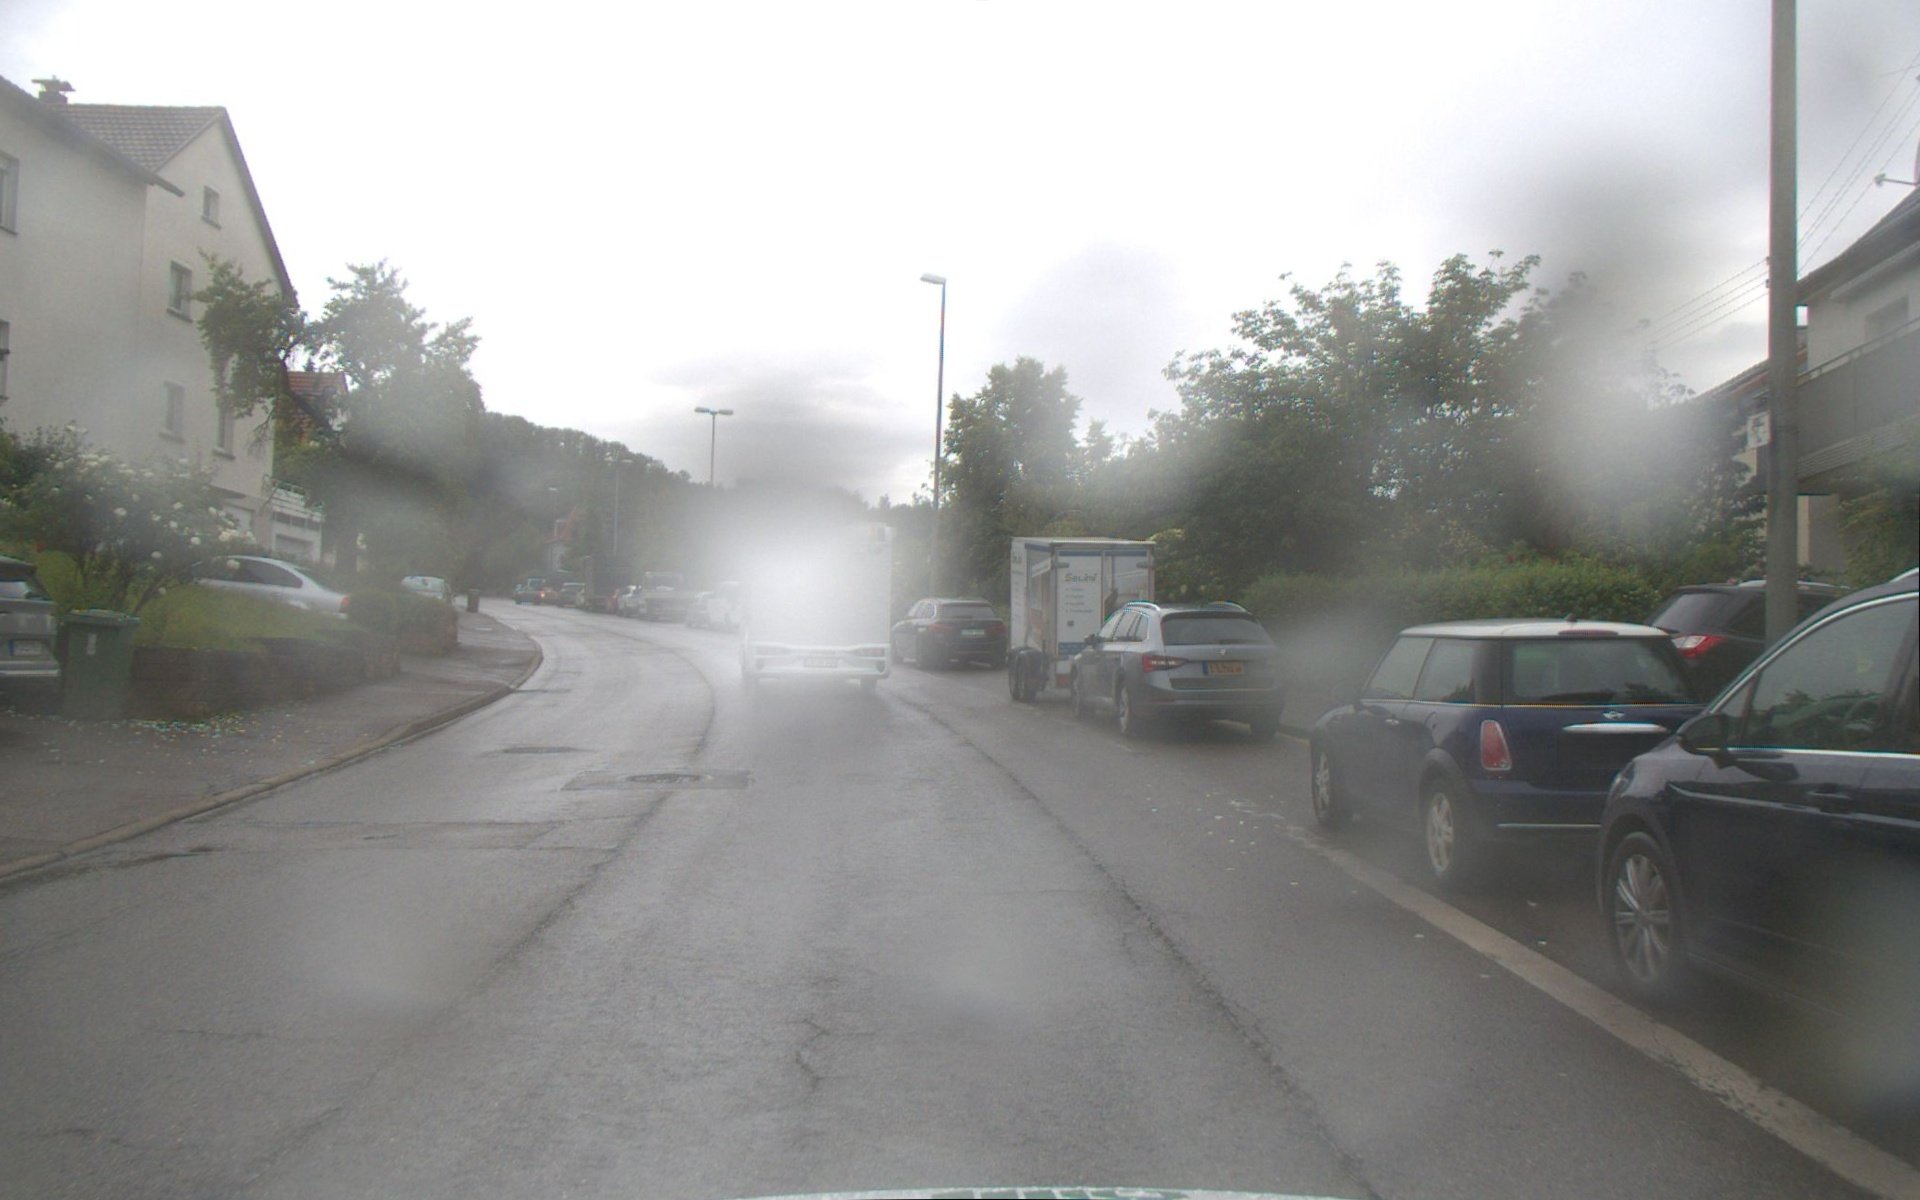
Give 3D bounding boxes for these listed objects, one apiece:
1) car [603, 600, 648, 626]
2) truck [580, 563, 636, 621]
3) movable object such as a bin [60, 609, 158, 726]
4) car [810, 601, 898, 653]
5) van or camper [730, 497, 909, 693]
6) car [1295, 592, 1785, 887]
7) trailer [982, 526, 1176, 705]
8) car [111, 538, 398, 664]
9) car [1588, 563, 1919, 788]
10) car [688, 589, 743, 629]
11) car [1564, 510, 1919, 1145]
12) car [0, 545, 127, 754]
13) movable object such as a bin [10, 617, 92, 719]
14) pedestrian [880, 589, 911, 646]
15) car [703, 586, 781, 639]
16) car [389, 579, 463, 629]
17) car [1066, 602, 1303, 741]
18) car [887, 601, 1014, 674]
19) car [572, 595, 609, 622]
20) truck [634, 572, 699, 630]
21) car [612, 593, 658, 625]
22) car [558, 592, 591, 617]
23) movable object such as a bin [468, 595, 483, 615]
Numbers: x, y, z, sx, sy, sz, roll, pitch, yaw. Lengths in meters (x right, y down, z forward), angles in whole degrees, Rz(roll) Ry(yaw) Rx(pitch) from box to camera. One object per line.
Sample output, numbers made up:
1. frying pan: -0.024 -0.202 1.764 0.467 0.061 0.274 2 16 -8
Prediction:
1. car: -19.214 0.730 94.812 1.805 1.463 4.957 1 -1 -20
2. truck: -21.704 -0.473 101.689 2.399 3.394 7.920 1 -1 -19
3. movable object such as a bin: -8.595 0.670 16.726 0.527 1.094 0.742 7 -1 -6
4. car: -3.078 0.754 47.378 1.708 1.439 3.834 1 -1 -17
5. van or camper: -2.568 0.035 28.484 2.567 2.903 6.018 3 -2 -9
6. car: 3.326 0.723 10.240 1.601 1.482 3.699 1 0 -2
7. trailer: 1.725 0.246 25.999 1.912 2.500 5.424 1 -1 -8
8. car: -12.524 0.029 29.537 4.170 1.455 1.766 10 -1 1
9. car: 7.981 0.714 14.825 3.923 1.717 1.777 5 0 -1
10. car: -10.151 0.383 68.474 1.622 1.591 3.943 1 -1 -18
11. car: 3.517 0.634 4.893 1.792 1.731 4.460 1 0 -1
12. car: -9.962 0.150 14.209 4.424 1.641 1.930 8 -1 -5
13. movable object such as a bin: -9.135 0.678 16.633 0.459 0.970 0.494 6 -1 -3
14. pedestrian: -1.900 0.506 48.718 0.694 1.664 0.715 1 0 -18
15. car: -8.391 0.469 63.301 1.822 1.915 4.879 1 -1 -21
16. car: -17.194 0.141 53.403 1.735 1.400 4.234 5 -1 -12
17. car: 2.536 0.775 19.820 1.714 1.449 4.697 1 0 -6
18. car: -0.284 0.769 36.290 1.762 1.485 4.772 1 0 -13
19. car: -24.527 0.564 109.655 1.818 1.713 5.607 1 -1 -19
20. truck: -14.324 0.077 80.465 2.204 2.678 6.505 1 -1 -18
21. car: -17.165 0.453 87.213 1.733 1.632 4.640 1 -1 -20
22. car: -27.234 0.285 116.746 1.906 1.701 4.671 1 0 -17
23. movable object such as a bin: -23.957 0.229 81.786 0.594 0.944 0.560 3 -1 -24
